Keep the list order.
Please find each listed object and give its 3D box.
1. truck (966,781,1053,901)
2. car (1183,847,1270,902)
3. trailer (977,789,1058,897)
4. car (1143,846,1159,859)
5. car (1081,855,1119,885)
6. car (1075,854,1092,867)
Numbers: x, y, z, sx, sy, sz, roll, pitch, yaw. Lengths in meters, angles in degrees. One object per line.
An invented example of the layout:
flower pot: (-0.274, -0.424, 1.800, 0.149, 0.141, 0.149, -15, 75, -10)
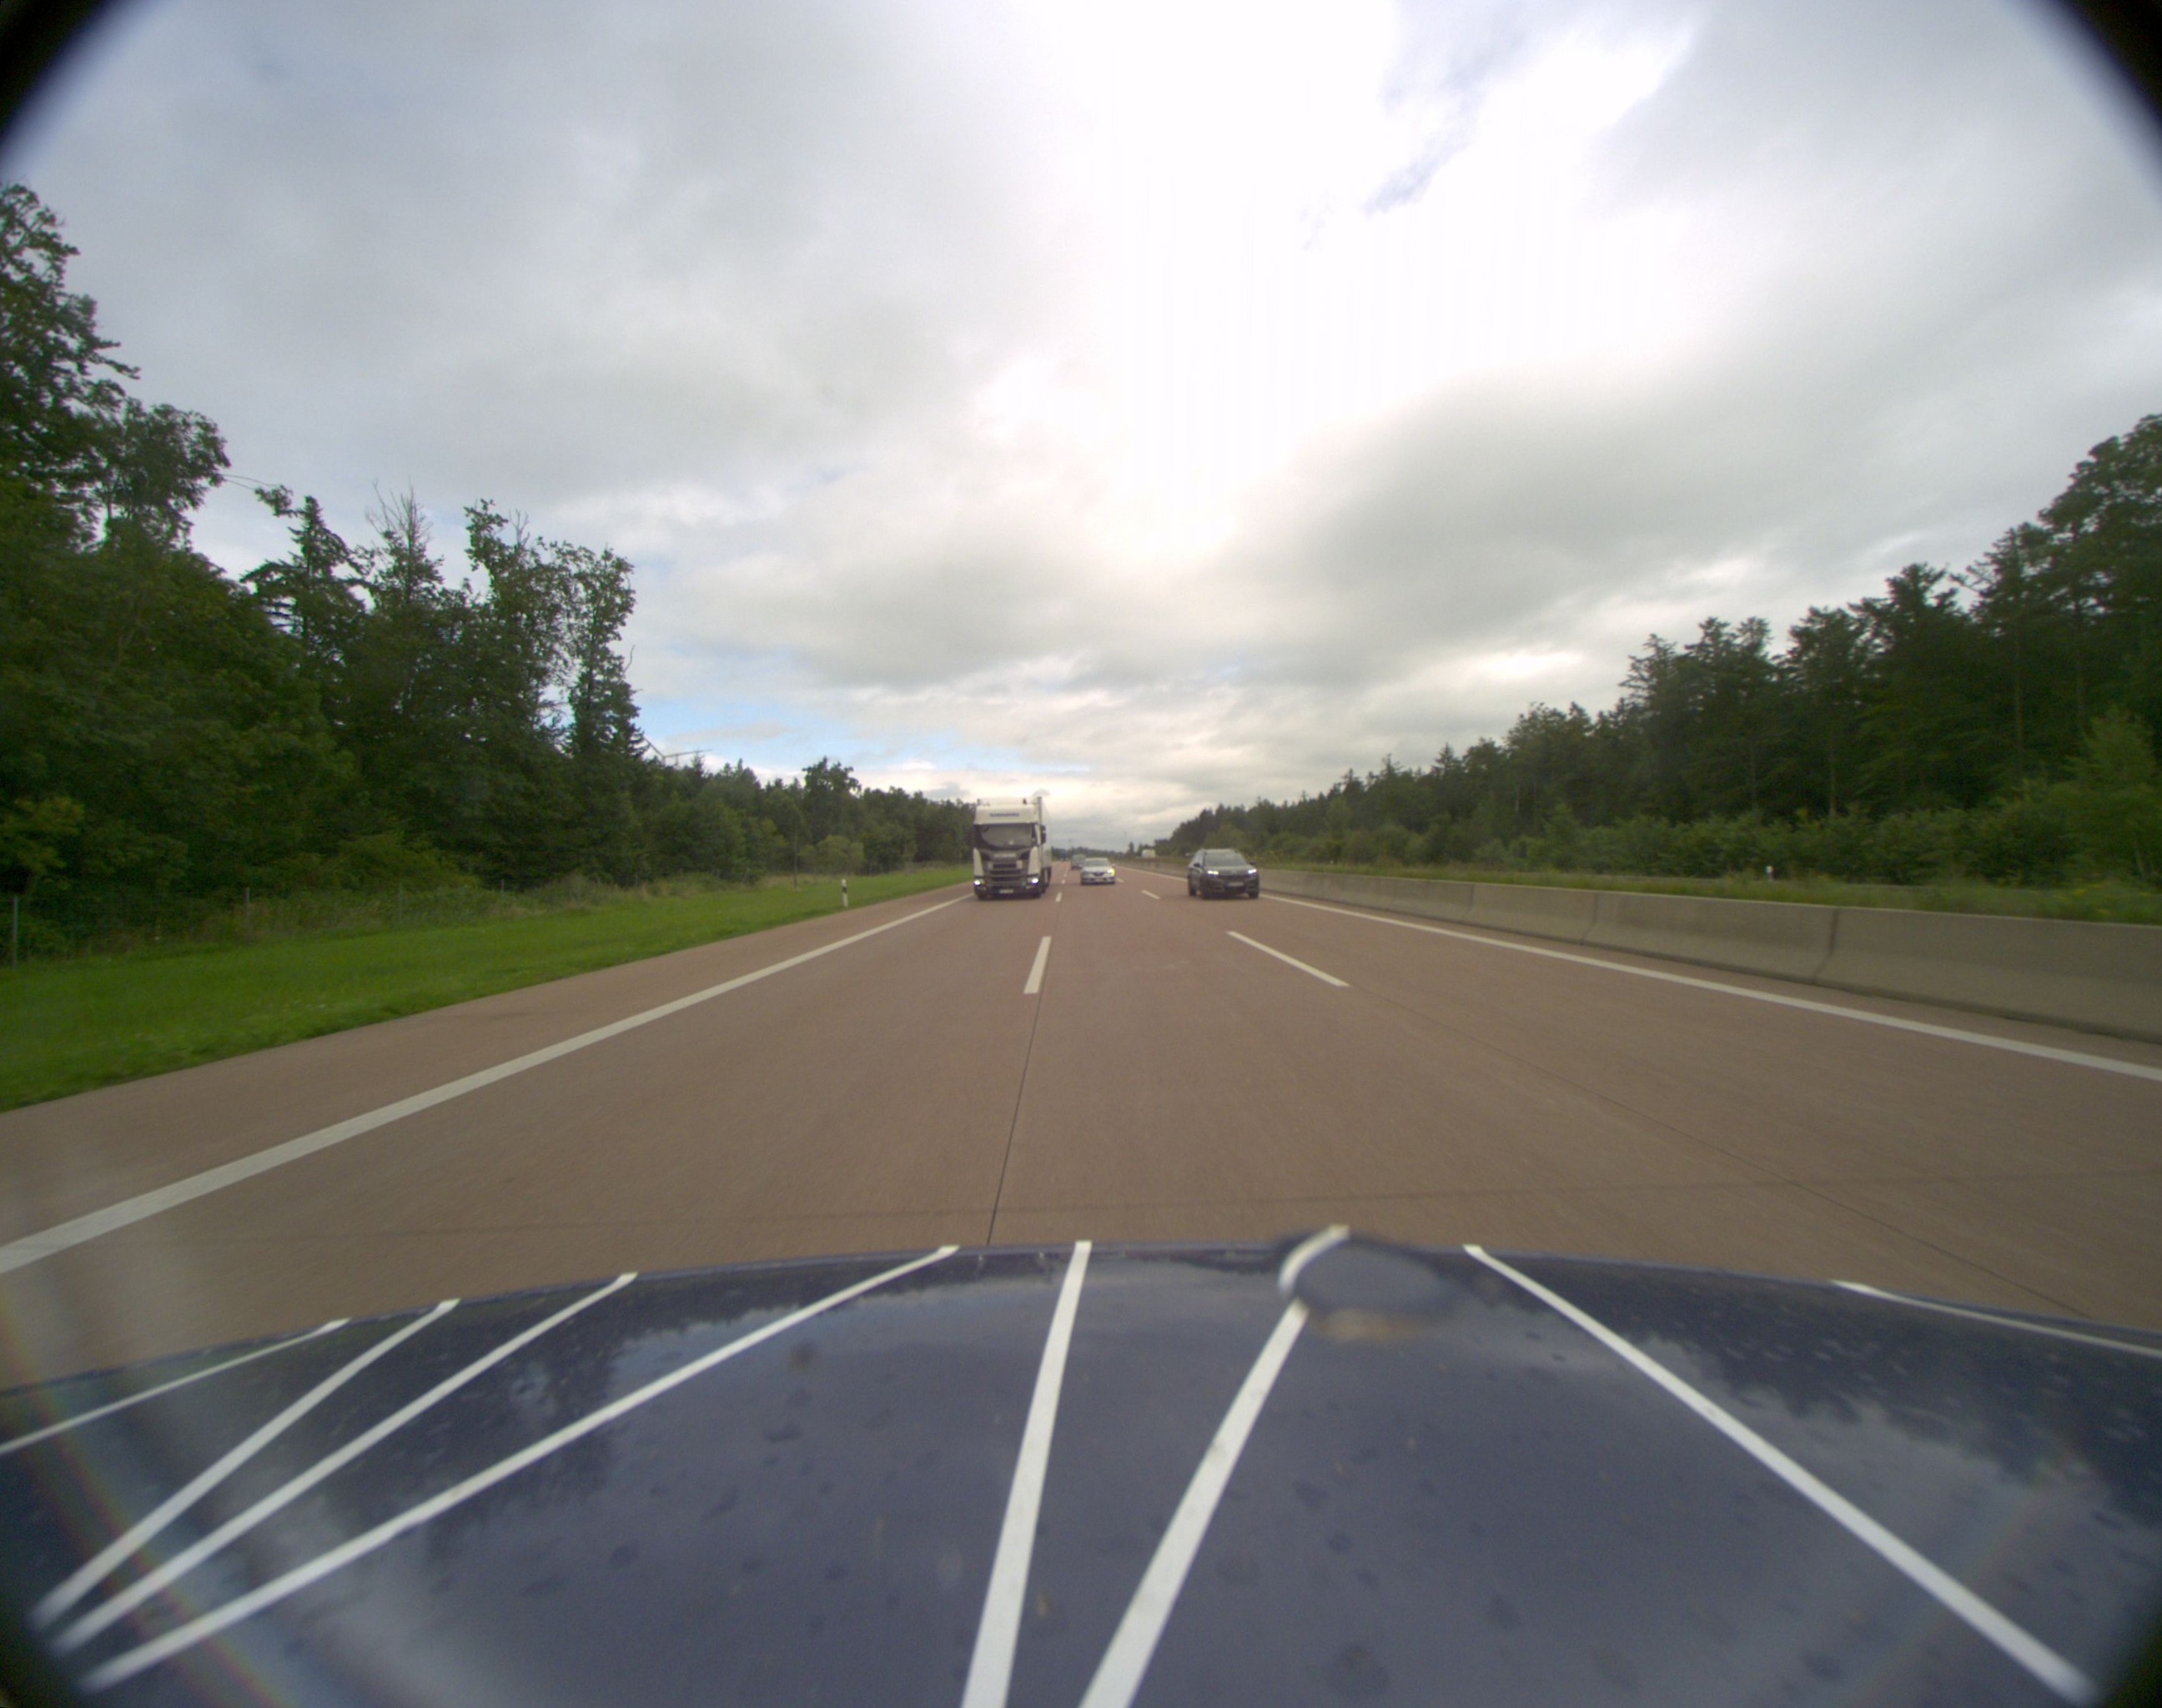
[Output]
truck: (-2.705, -0.482, 30.395, 2.929, 4.269, 5.334, -2, 0, -1)
car: (4.948, 0.638, 26.655, 1.999, 1.689, 5.252, -2, 0, 0)
trailer: (-2.759, -0.473, 37.420, 2.929, 4.269, 13.611, -2, 0, -1)
car: (12.255, -0.346, 133.197, 2.078, 2.129, 7.487, -2, 0, 1)
car: (1.049, 0.840, 41.839, 1.923, 1.515, 4.000, -2, 0, 2)
car: (0.269, 0.752, 89.519, 1.986, 1.499, 4.052, -2, 0, 0)
